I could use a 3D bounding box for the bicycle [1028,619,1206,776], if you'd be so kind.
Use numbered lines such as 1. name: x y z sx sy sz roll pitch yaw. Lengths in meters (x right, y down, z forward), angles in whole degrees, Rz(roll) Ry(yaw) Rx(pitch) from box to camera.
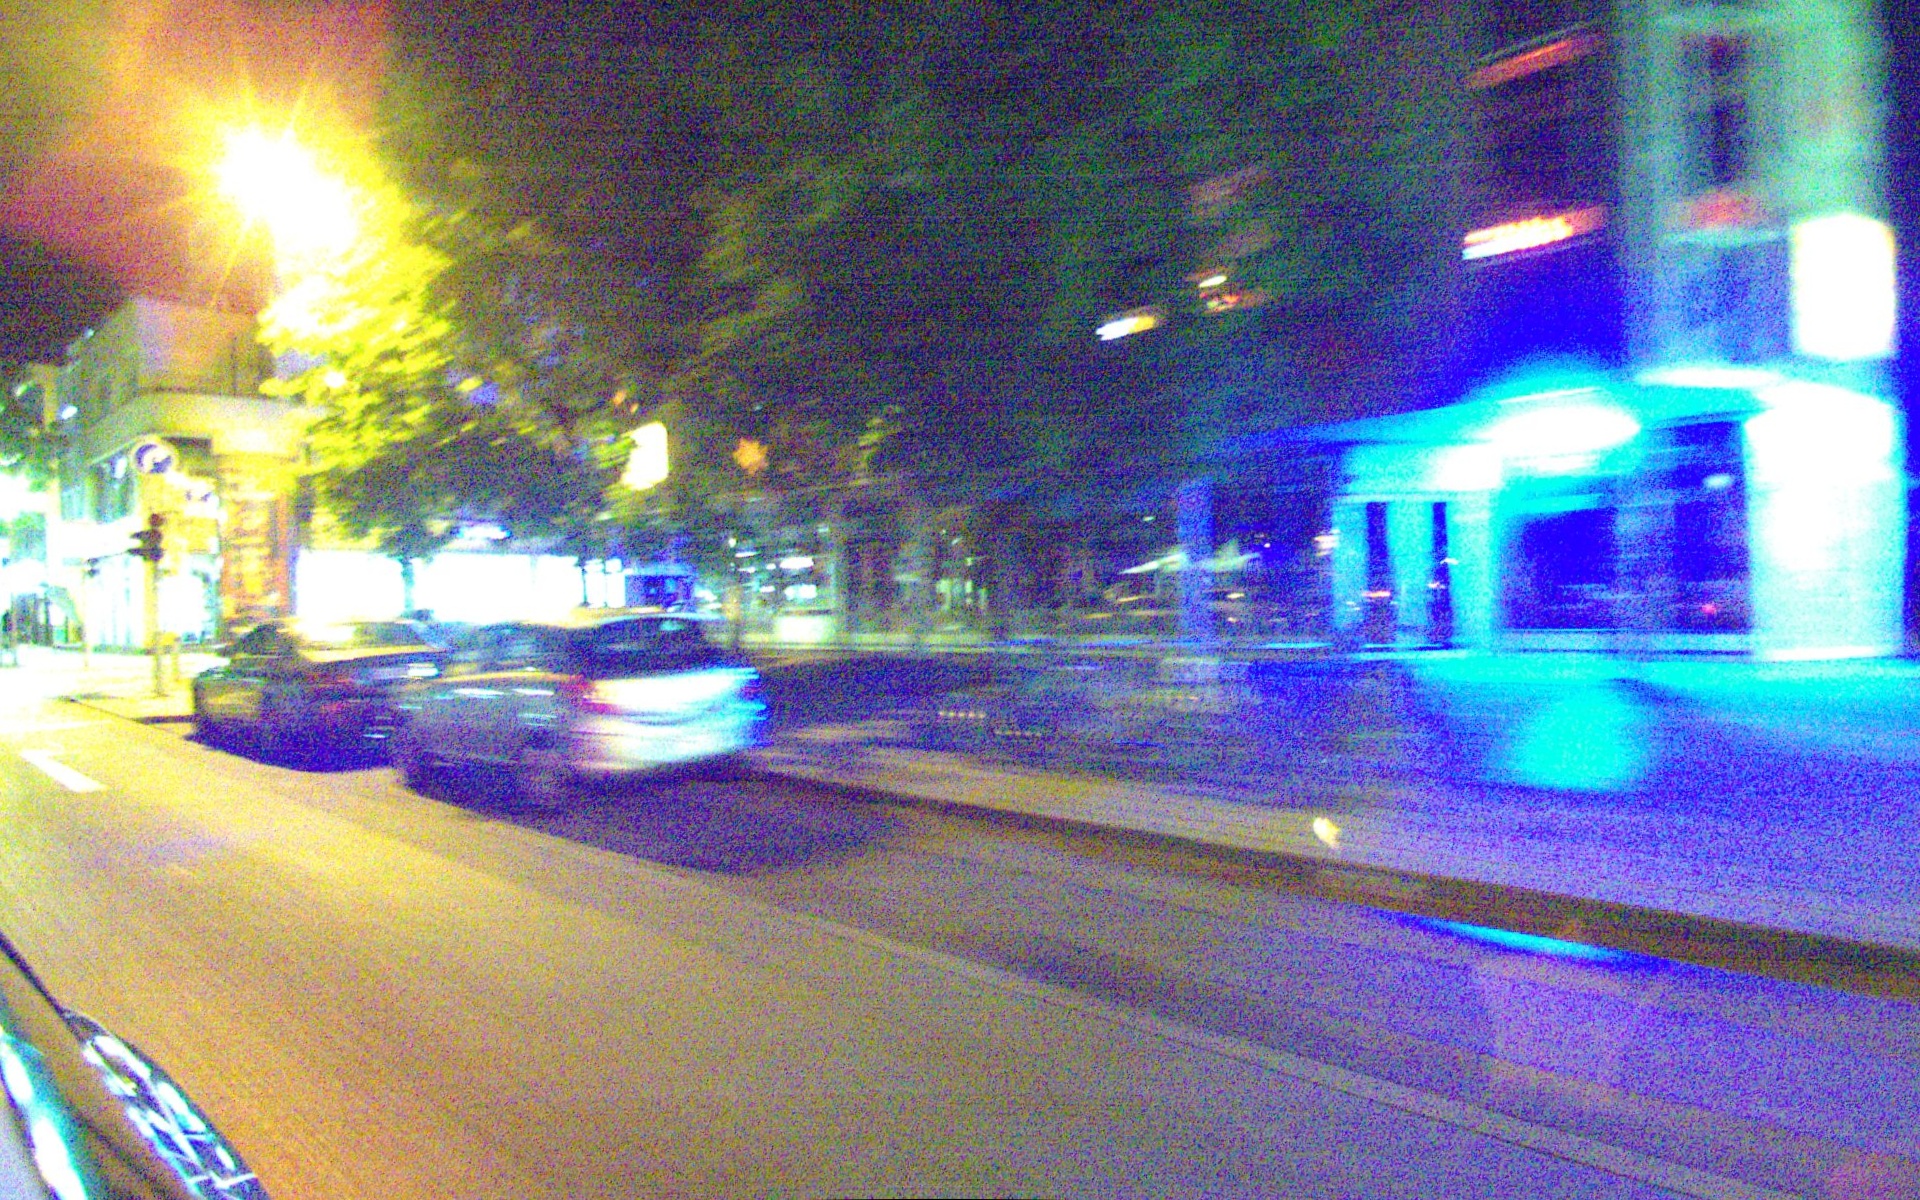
1. bicycle: 1.321 0.727 8.203 0.532 1.043 1.832 -1 1 40

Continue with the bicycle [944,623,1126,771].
1. bicycle: 0.679 0.756 8.510 0.532 1.007 1.832 -1 1 40

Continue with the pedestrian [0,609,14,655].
1. pedestrian: -38.132 1.267 40.216 0.716 1.820 0.710 -1 -1 41

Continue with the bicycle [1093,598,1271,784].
1. bicycle: 1.754 0.623 7.784 0.532 1.263 1.832 -1 -1 40

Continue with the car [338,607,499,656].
1. car: -17.588 0.985 33.037 1.802 1.408 4.285 -1 0 40

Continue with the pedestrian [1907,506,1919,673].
1. pedestrian: 9.818 -0.113 9.993 0.632 1.649 0.473 -1 -1 41

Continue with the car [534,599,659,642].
1. car: -13.585 0.744 37.988 1.802 1.448 4.094 -1 0 40

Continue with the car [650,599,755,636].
1. car: -10.568 0.705 41.664 1.802 1.406 3.859 -1 0 40

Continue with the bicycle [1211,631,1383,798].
1. bicycle: 2.421 0.738 7.130 0.501 0.975 1.832 -1 -1 40

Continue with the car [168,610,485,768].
1. car: -7.670 0.903 12.016 4.918 1.435 1.788 -1 2 41

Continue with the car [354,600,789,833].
1. car: -3.402 0.791 8.510 3.974 1.439 1.704 -1 2 41

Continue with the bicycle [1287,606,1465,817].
1. bicycle: 2.762 0.641 6.610 0.532 1.175 1.832 -1 -1 40
